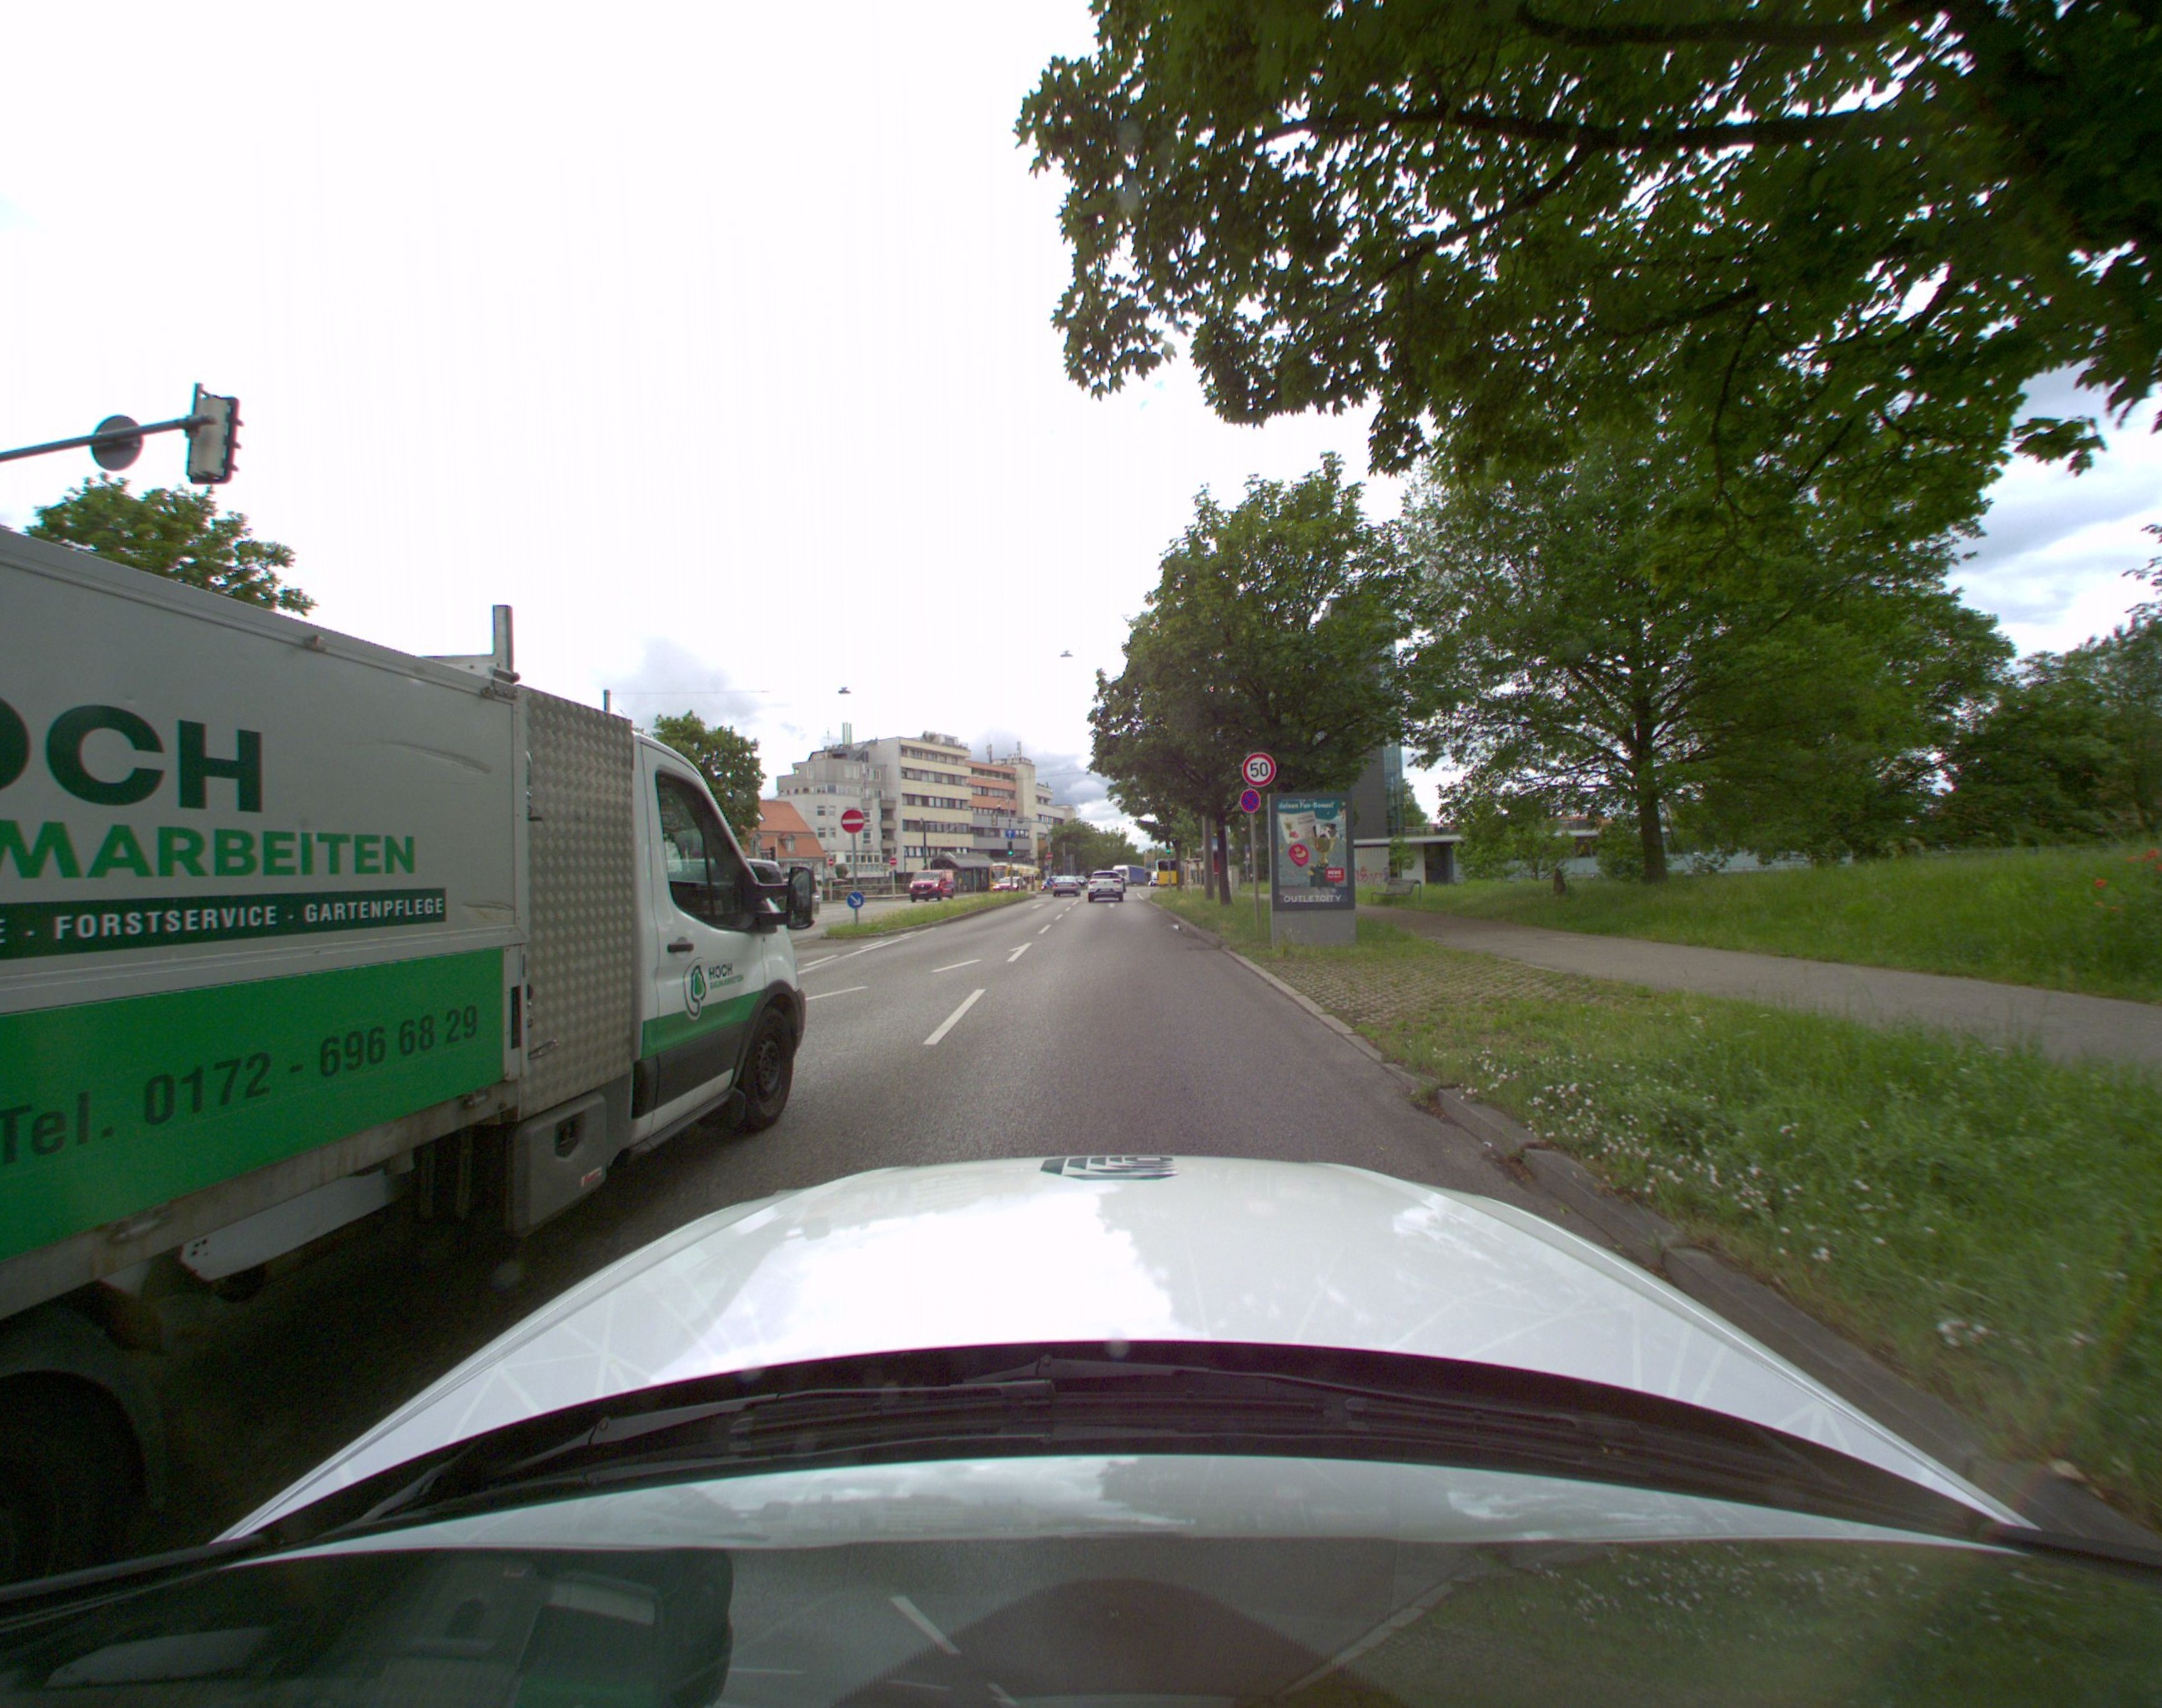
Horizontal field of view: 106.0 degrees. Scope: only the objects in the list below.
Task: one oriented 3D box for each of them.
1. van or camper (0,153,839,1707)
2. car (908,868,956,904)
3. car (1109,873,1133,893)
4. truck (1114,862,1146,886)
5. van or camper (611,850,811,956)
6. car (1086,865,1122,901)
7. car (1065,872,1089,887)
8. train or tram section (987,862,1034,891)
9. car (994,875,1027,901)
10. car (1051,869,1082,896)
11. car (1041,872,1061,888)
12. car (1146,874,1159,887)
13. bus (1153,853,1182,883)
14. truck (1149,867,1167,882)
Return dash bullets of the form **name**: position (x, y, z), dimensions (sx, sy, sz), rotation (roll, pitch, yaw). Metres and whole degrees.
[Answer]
- **van or camper**: position (-2.851, 0.265, 2.746), dimensions (2.336, 2.662, 5.962), rotation (-1, 0, -1)
- **car**: position (-9.310, 1.960, 51.311), dimensions (1.986, 2.013, 4.837), rotation (0, 1, 2)
- **car**: position (3.372, 2.404, 68.357), dimensions (1.691, 1.516, 3.500), rotation (-1, 0, 7)
- **truck**: position (8.971, 3.530, 146.191), dimensions (2.934, 4.080, 16.658), rotation (-2, -1, 13)
- **van or camper**: position (-7.728, 0.956, 17.728), dimensions (1.920, 1.938, 5.247), rotation (-1, -1, 0)
- **car**: position (1.224, 1.443, 41.957), dimensions (1.692, 1.548, 3.741), rotation (1, 2, 4)
- **car**: position (-0.415, 3.036, 96.309), dimensions (1.885, 1.618, 4.288), rotation (-2, -2, 11)
- **train or tram section**: position (-8.721, 2.813, 102.415), dimensions (2.544, 3.411, 13.115), rotation (-2, -2, 10)
- **car**: position (-5.438, 2.604, 63.601), dimensions (1.986, 1.590, 4.838), rotation (0, 3, 2)
- **car**: position (-0.969, 1.929, 55.240), dimensions (1.692, 1.515, 3.741), rotation (-2, 2, 4)
- **car**: position (-2.950, 2.554, 79.865), dimensions (1.607, 1.446, 3.654), rotation (-2, -2, 2)
- **car**: position (10.162, 3.730, 115.500), dimensions (1.762, 1.570, 4.292), rotation (-2, 1, 5)
- **bus**: position (9.793, 1.592, 92.874), dimensions (2.940, 3.191, 9.938), rotation (-1, -1, 4)
- **truck**: position (16.421, 4.366, 173.461), dimensions (3.065, 3.028, 9.381), rotation (-2, -2, 9)
